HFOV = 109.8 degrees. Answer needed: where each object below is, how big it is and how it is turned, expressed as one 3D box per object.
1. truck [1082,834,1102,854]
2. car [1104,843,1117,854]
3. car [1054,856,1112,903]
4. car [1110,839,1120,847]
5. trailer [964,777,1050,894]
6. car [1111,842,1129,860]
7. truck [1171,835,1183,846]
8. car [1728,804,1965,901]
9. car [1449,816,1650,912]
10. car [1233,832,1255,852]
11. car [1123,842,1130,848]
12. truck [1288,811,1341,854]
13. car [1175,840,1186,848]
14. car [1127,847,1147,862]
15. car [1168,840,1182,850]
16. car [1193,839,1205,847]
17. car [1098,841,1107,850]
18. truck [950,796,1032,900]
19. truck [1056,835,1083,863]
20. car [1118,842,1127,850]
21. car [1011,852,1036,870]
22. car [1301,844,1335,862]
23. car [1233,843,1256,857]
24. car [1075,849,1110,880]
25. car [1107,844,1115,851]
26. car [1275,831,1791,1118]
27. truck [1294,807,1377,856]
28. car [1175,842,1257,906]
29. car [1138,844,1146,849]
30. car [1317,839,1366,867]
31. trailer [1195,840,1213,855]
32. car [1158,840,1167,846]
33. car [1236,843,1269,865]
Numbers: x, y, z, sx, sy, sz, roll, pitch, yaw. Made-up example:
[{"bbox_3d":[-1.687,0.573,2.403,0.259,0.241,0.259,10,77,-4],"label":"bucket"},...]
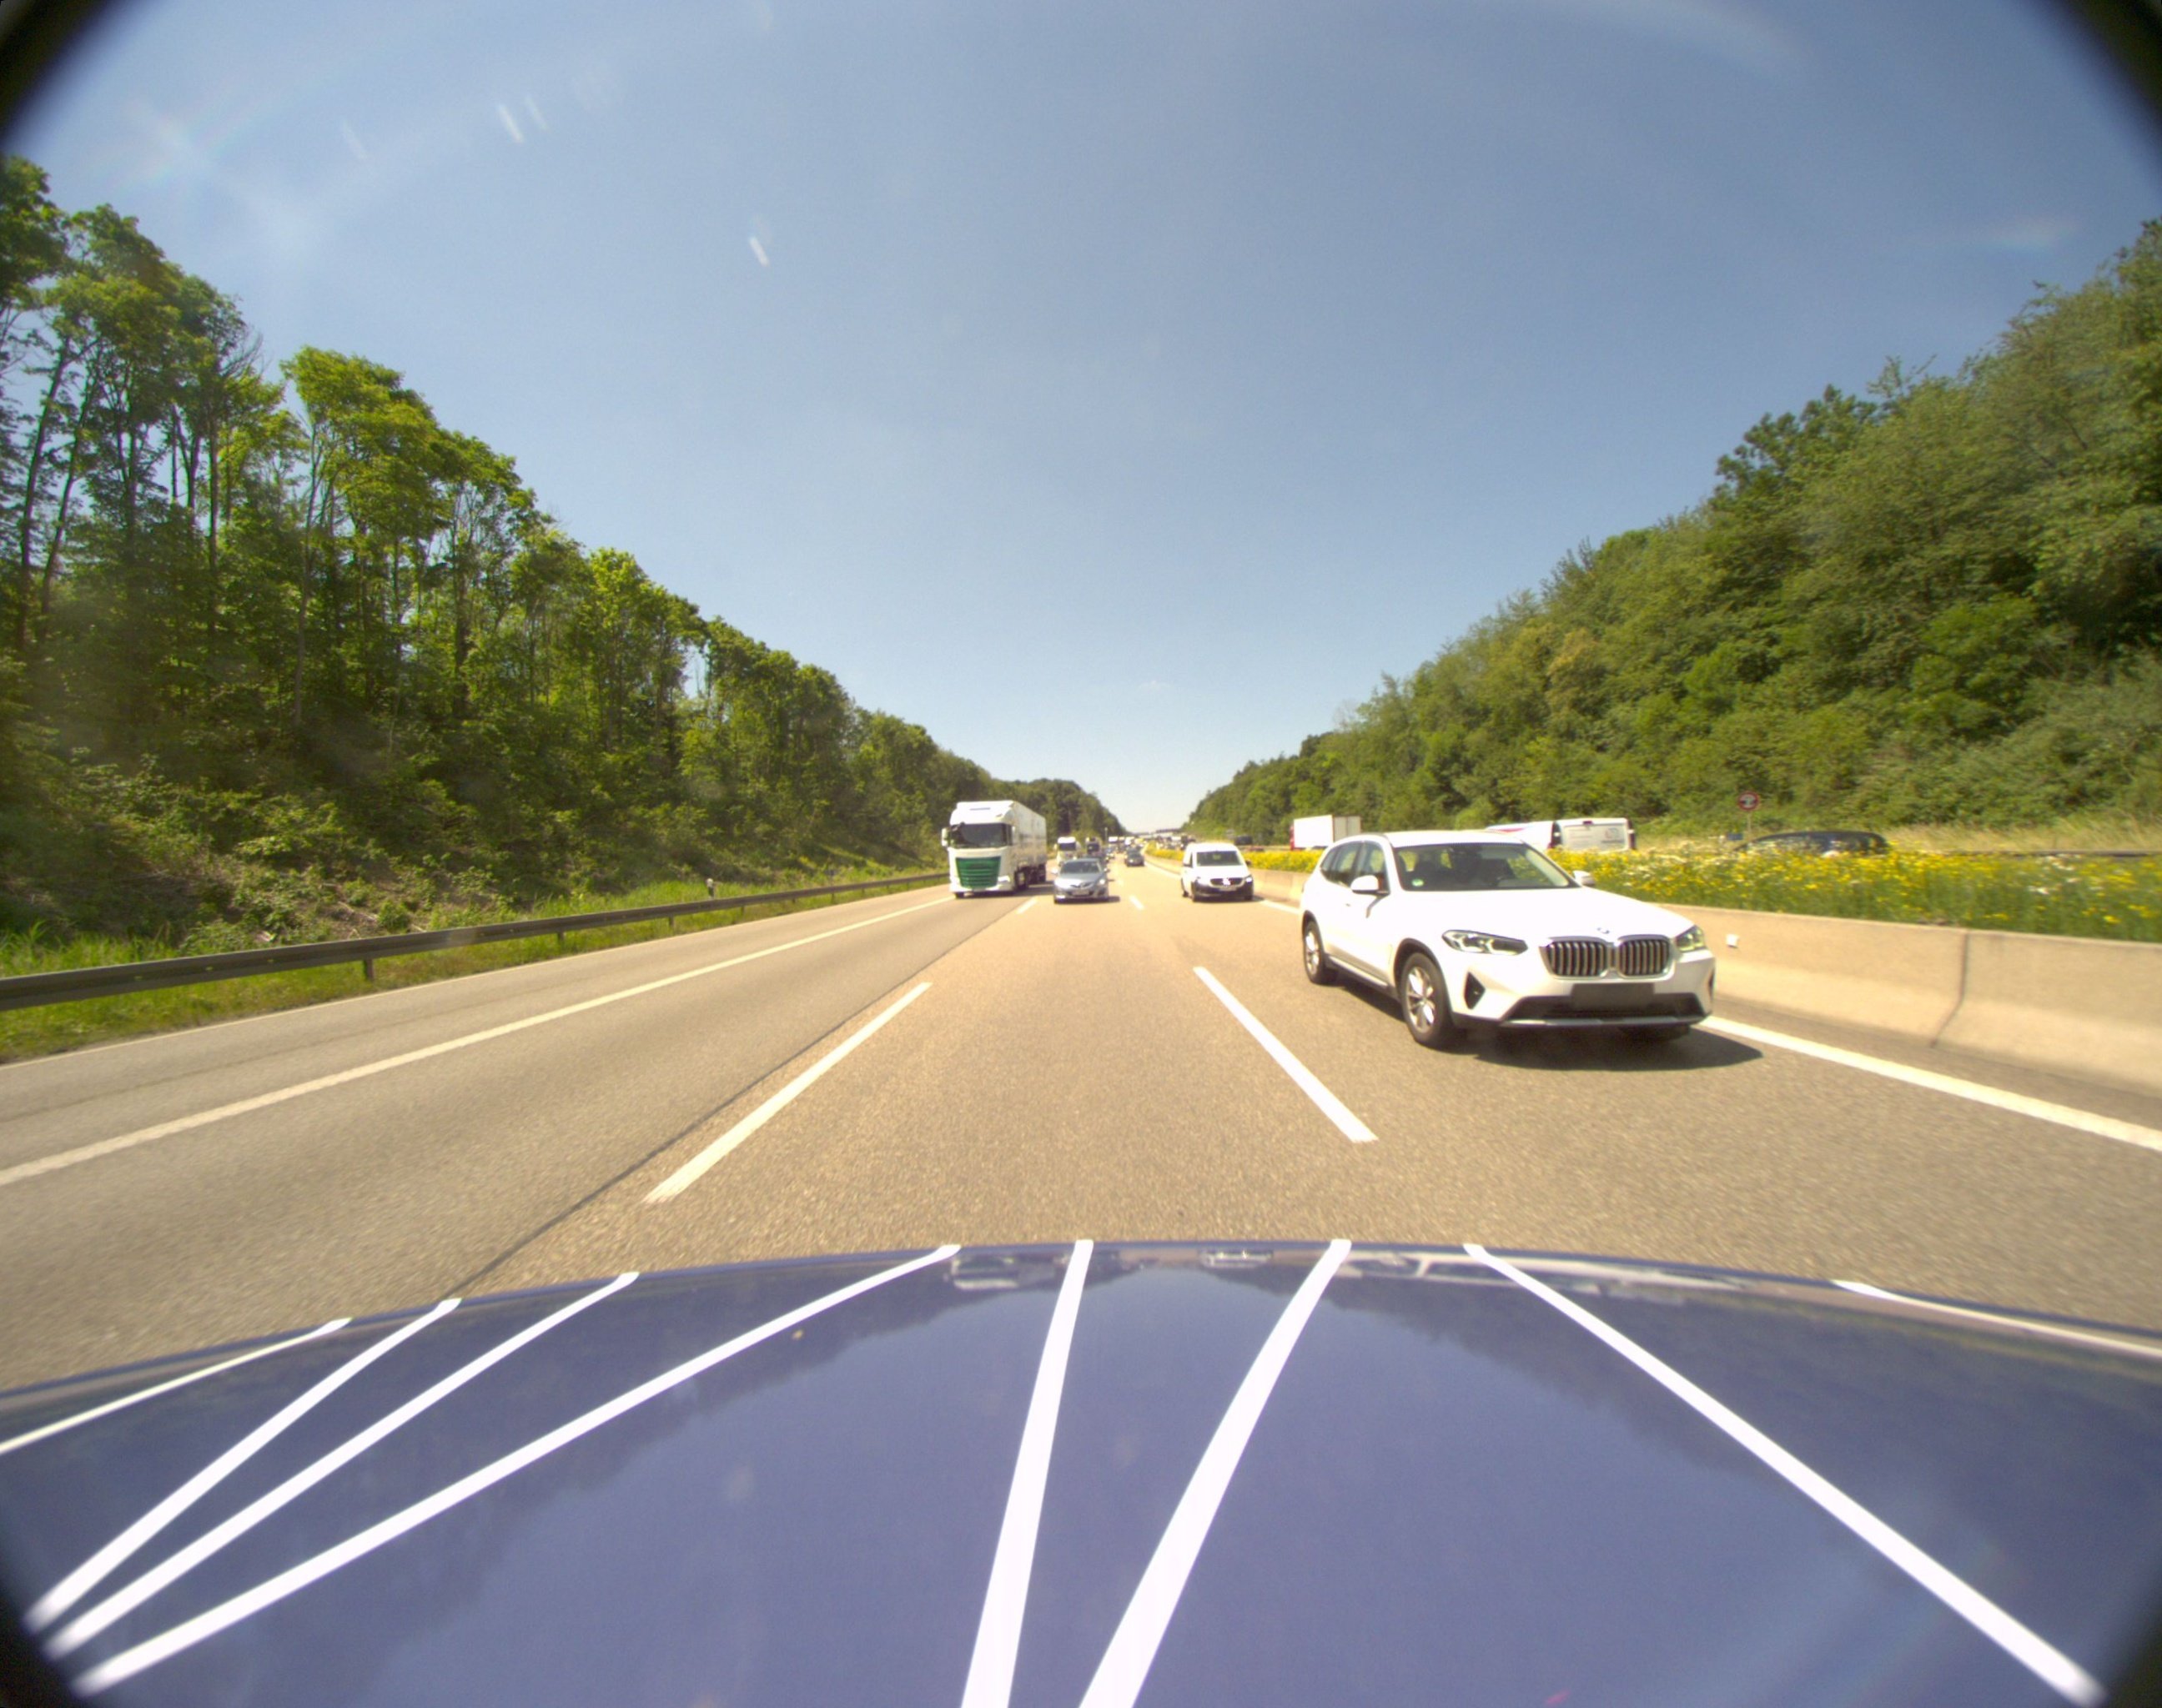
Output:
[{"bbox_3d":[2.156,-1.931,146.381,3.558,3.694,7.550,-2,1,1],"label":"truck"},{"bbox_3d":[5.121,-0.978,132.602,1.998,1.728,3.999,-2,1,1],"label":"car"},{"bbox_3d":[0.081,0.861,27.290,1.887,1.458,4.248,-2,0,0],"label":"car"},{"bbox_3d":[10.536,-3.394,234.306,2.697,2.467,6.584,-2,1,3],"label":"car"},{"bbox_3d":[-3.536,-0.915,40.873,2.574,5.011,15.271,-2,1,1],"label":"trailer"},{"bbox_3d":[4.689,-0.373,92.409,1.998,2.002,4.000,-2,1,1],"label":"car"},{"bbox_3d":[28.422,-4.121,225.521,2.544,3.102,7.784,-2,1,1],"label":"truck"},{"bbox_3d":[18.078,-0.061,18.249,1.637,2.002,3.999,-2,1,0],"label":"car"},{"bbox_3d":[11.301,0.183,18.848,1.998,2.002,4.899,-2,1,1],"label":"car"},{"bbox_3d":[21.488,-1.575,100.263,1.998,2.416,3.999,-2,1,1],"label":"car"},{"bbox_3d":[12.598,-2.471,210.941,1.998,1.728,4.000,-2,1,3],"label":"car"},{"bbox_3d":[24.507,-2.240,80.250,3.718,4.171,6.284,-2,1,2],"label":"truck"},{"bbox_3d":[22.459,-2.249,170.932,1.998,1.676,3.999,-2,1,1],"label":"car"},{"bbox_3d":[5.768,0.087,78.710,1.720,1.470,4.000,-2,0,1],"label":"car"},{"bbox_3d":[16.547,-1.525,133.438,1.998,1.676,3.999,-2,1,1],"label":"car"},{"bbox_3d":[26.161,-2.366,169.062,1.998,1.676,3.999,-2,1,1],"label":"car"},{"bbox_3d":[5.268,-2.041,182.860,1.964,2.002,4.000,-2,0,0],"label":"car"},{"bbox_3d":[-3.756,-0.284,33.176,2.542,4.006,6.624,-2,1,1],"label":"truck"},{"bbox_3d":[-1.399,-0.667,97.744,3.263,3.337,6.862,-2,1,0],"label":"truck"},{"bbox_3d":[10.123,-1.990,186.258,1.998,1.728,3.999,-2,1,1],"label":"car"},{"bbox_3d":[-5.322,0.639,70.591,1.934,1.534,3.756,-2,0,0],"label":"car"},{"bbox_3d":[19.370,-0.084,62.249,1.618,1.381,3.508,-2,0,-1],"label":"car"},{"bbox_3d":[16.869,-0.455,78.460,1.602,1.375,3.359,-2,1,1],"label":"car"},{"bbox_3d":[0.739,0.598,45.058,1.887,1.695,4.085,-2,0,2],"label":"car"},{"bbox_3d":[8.017,-1.656,202.215,1.998,1.728,4.000,-2,1,3],"label":"car"},{"bbox_3d":[3.390,0.740,7.106,1.869,1.684,4.956,-2,0,1],"label":"car"},{"bbox_3d":[24.347,-2.048,73.867,3.718,4.170,13.792,-2,1,2],"label":"truck"},{"bbox_3d":[4.238,0.589,24.577,1.769,1.802,4.674,-2,0,0],"label":"car"},{"bbox_3d":[15.605,-1.911,194.975,1.998,1.426,4.000,-2,0,2],"label":"car"},{"bbox_3d":[15.233,-0.048,44.567,1.618,1.472,3.508,-2,0,-1],"label":"car"},{"bbox_3d":[18.290,-0.969,112.787,1.998,2.002,3.999,-2,1,1],"label":"trailer"},{"bbox_3d":[22.941,-3.078,214.298,2.158,1.676,4.147,-2,1,1],"label":"car"},{"bbox_3d":[12.245,-0.020,54.476,1.602,1.500,3.359,-2,1,1],"label":"car"}]
